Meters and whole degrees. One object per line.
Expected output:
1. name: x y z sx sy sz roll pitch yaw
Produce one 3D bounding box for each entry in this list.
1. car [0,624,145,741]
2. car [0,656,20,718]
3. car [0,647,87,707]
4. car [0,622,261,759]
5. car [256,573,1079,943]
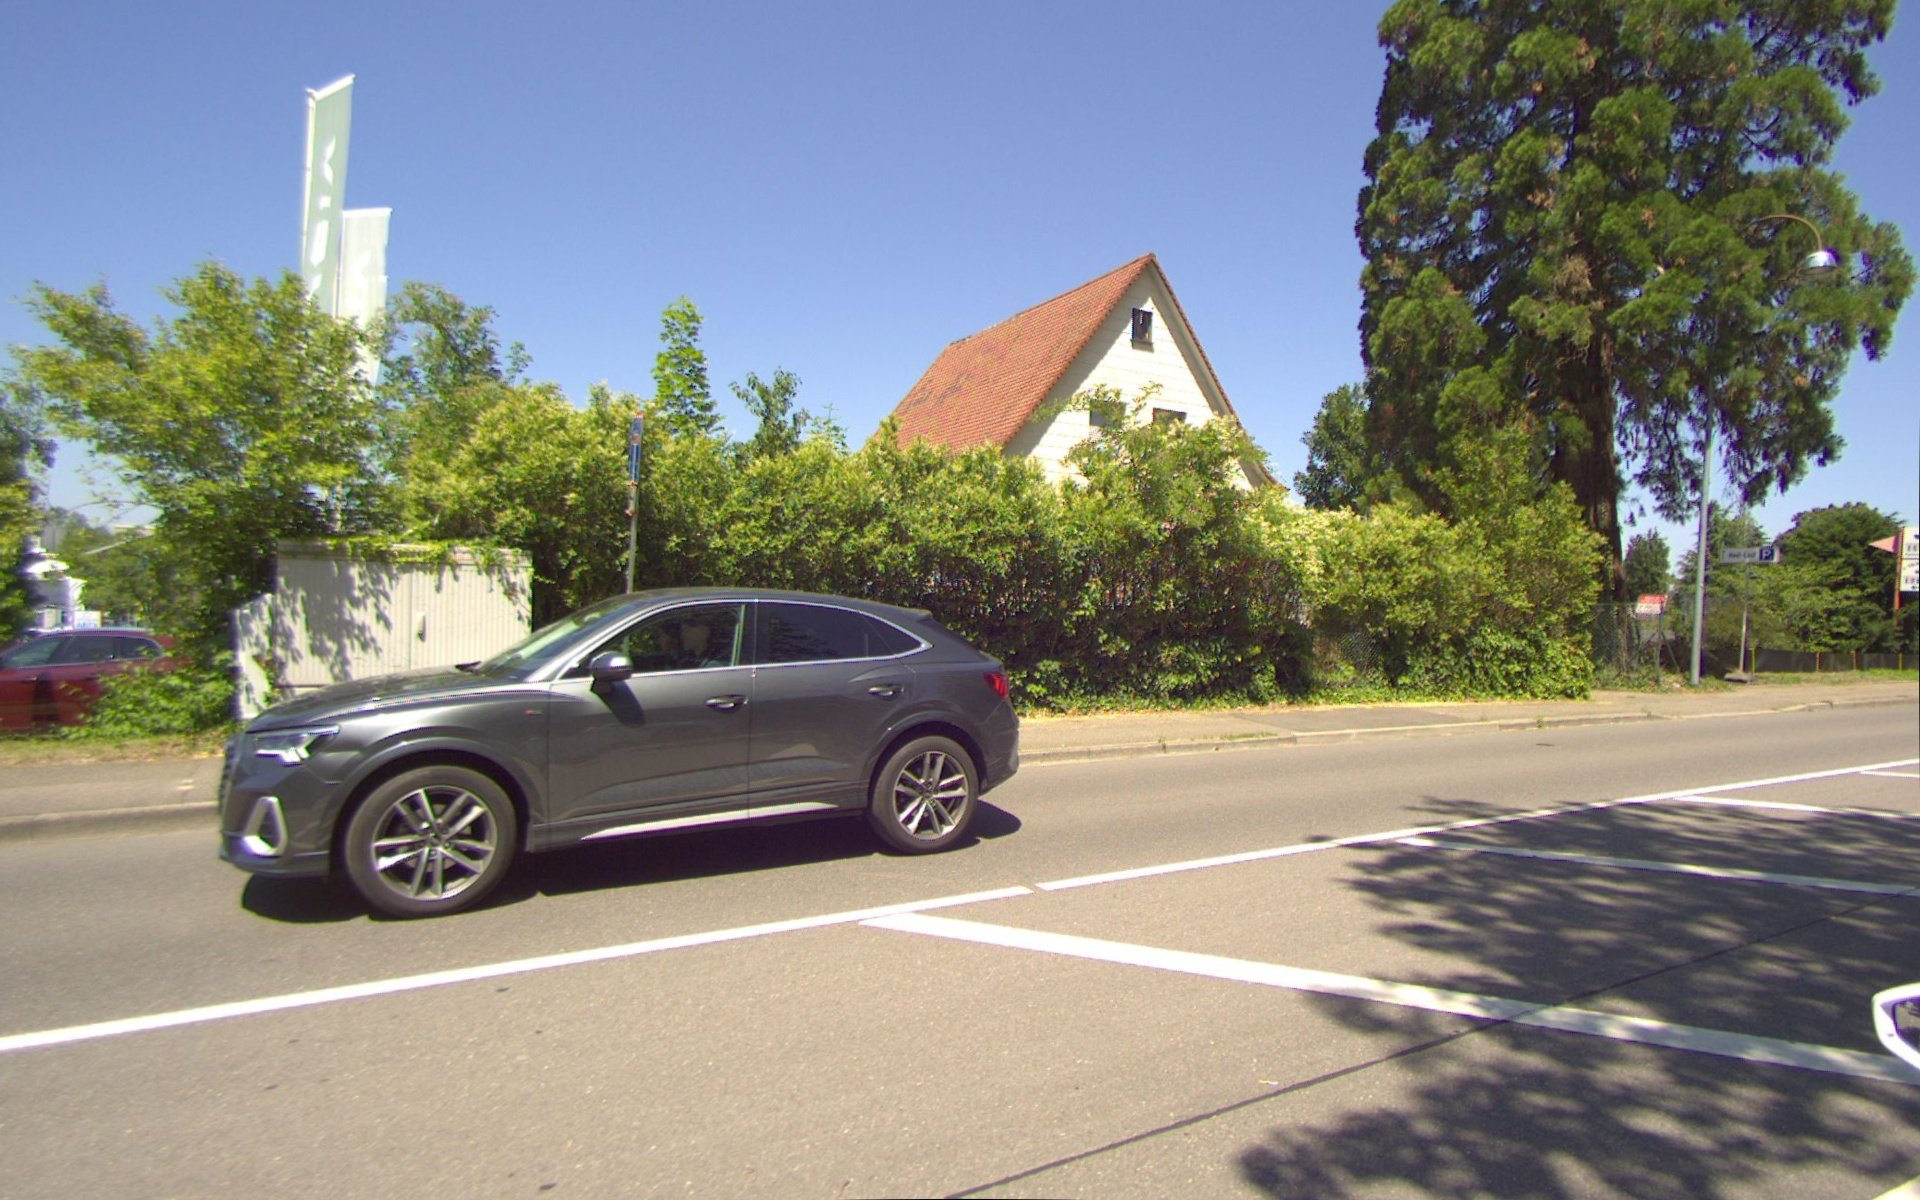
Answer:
1. car: -15.679 1.286 16.005 4.061 1.745 1.791 1 0 -44
2. car: -25.401 2.150 24.300 3.841 1.434 1.632 2 0 -44
3. car: -26.351 2.078 27.257 3.969 1.506 1.737 2 0 -41
4. car: -11.403 1.077 12.823 4.012 1.411 1.679 2 0 10
5. car: -1.538 0.707 6.082 4.264 1.557 1.785 2 0 -30
